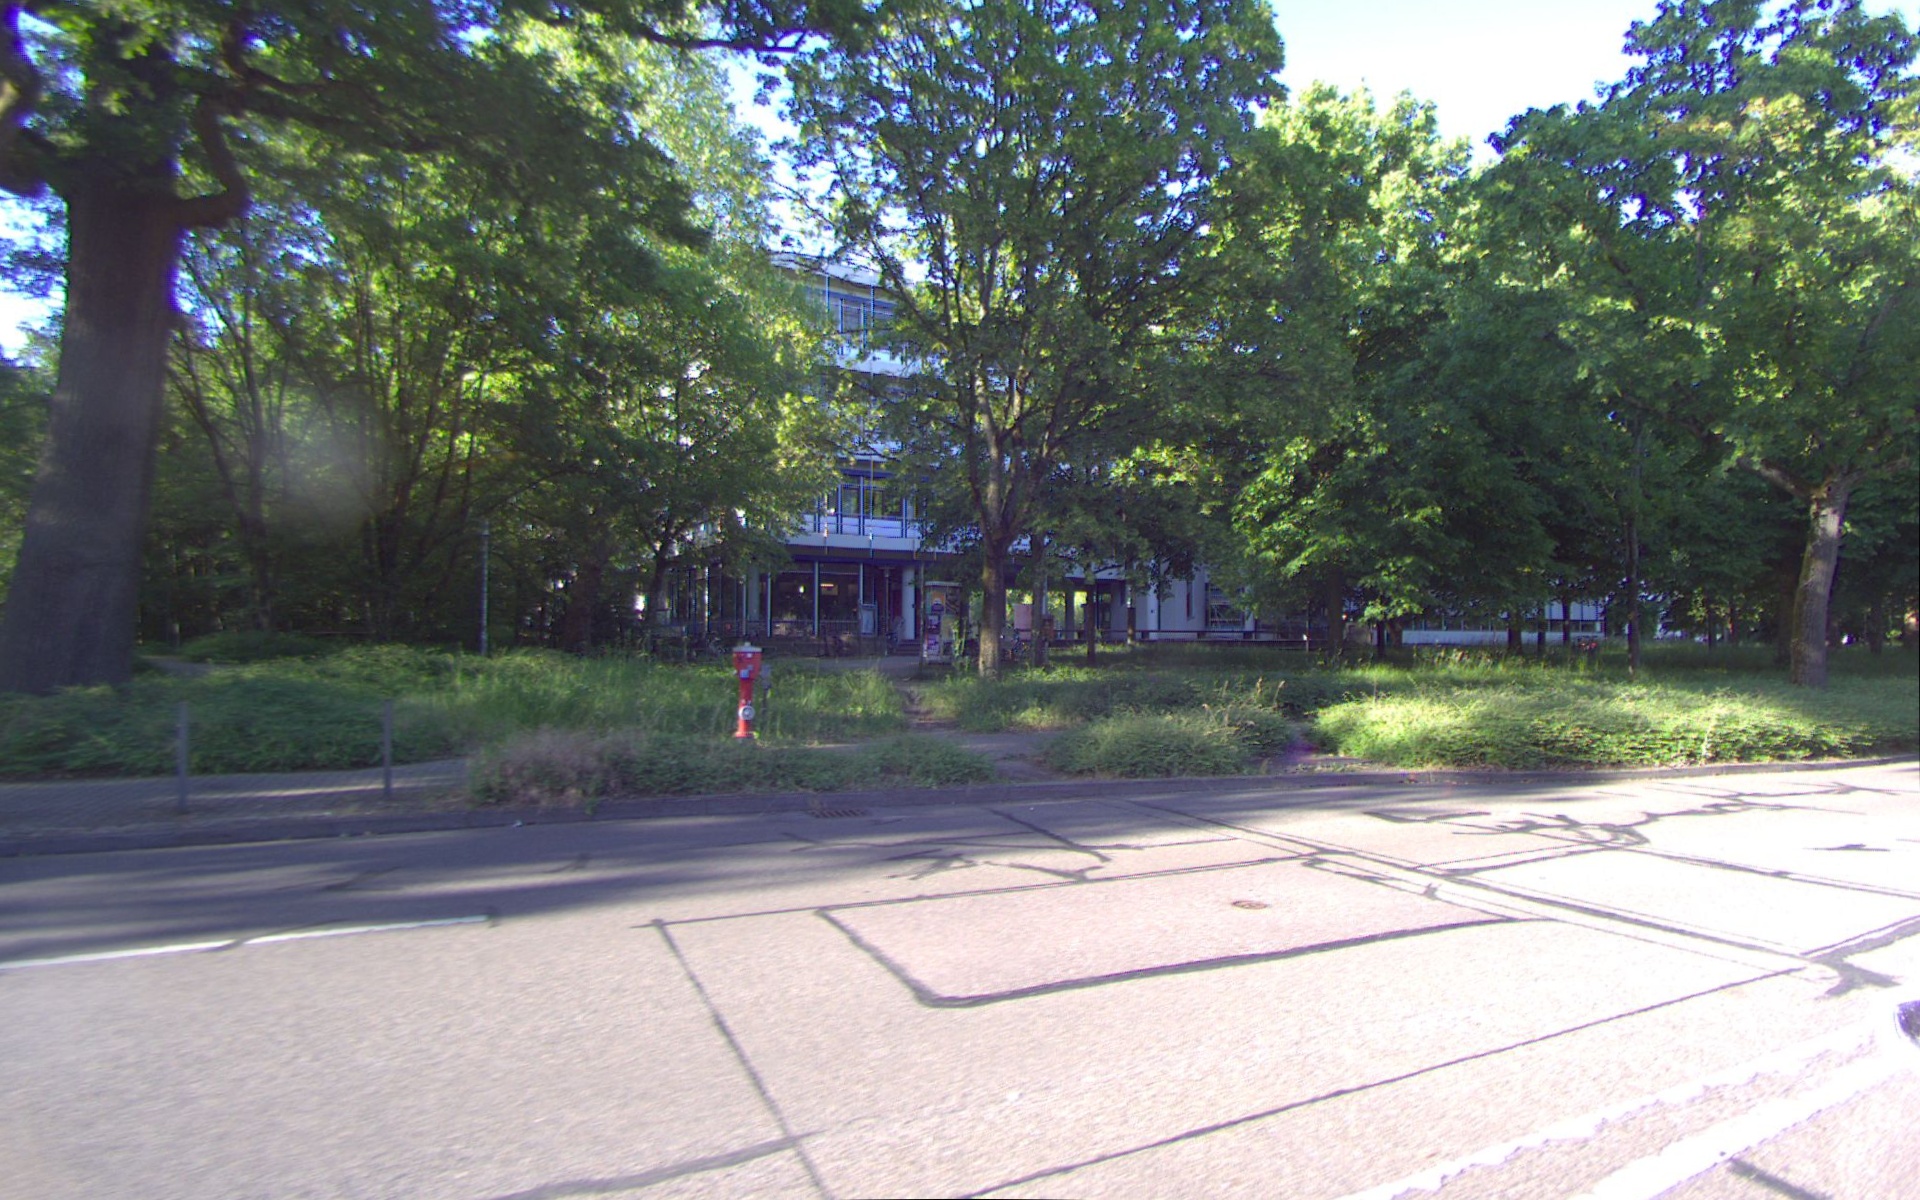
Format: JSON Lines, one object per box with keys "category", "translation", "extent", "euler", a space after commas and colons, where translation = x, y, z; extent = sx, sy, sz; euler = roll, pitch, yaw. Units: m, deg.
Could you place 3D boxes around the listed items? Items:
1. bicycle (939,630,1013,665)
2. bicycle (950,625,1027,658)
{"category": "bicycle", "translation": [0.536, 1.554, 32.945], "extent": [2.380, 1.086, 0.537], "euler": [1, 2, 8]}
{"category": "bicycle", "translation": [0.991, 1.435, 34.512], "extent": [2.590, 1.086, 0.535], "euler": [1, 3, -14]}
